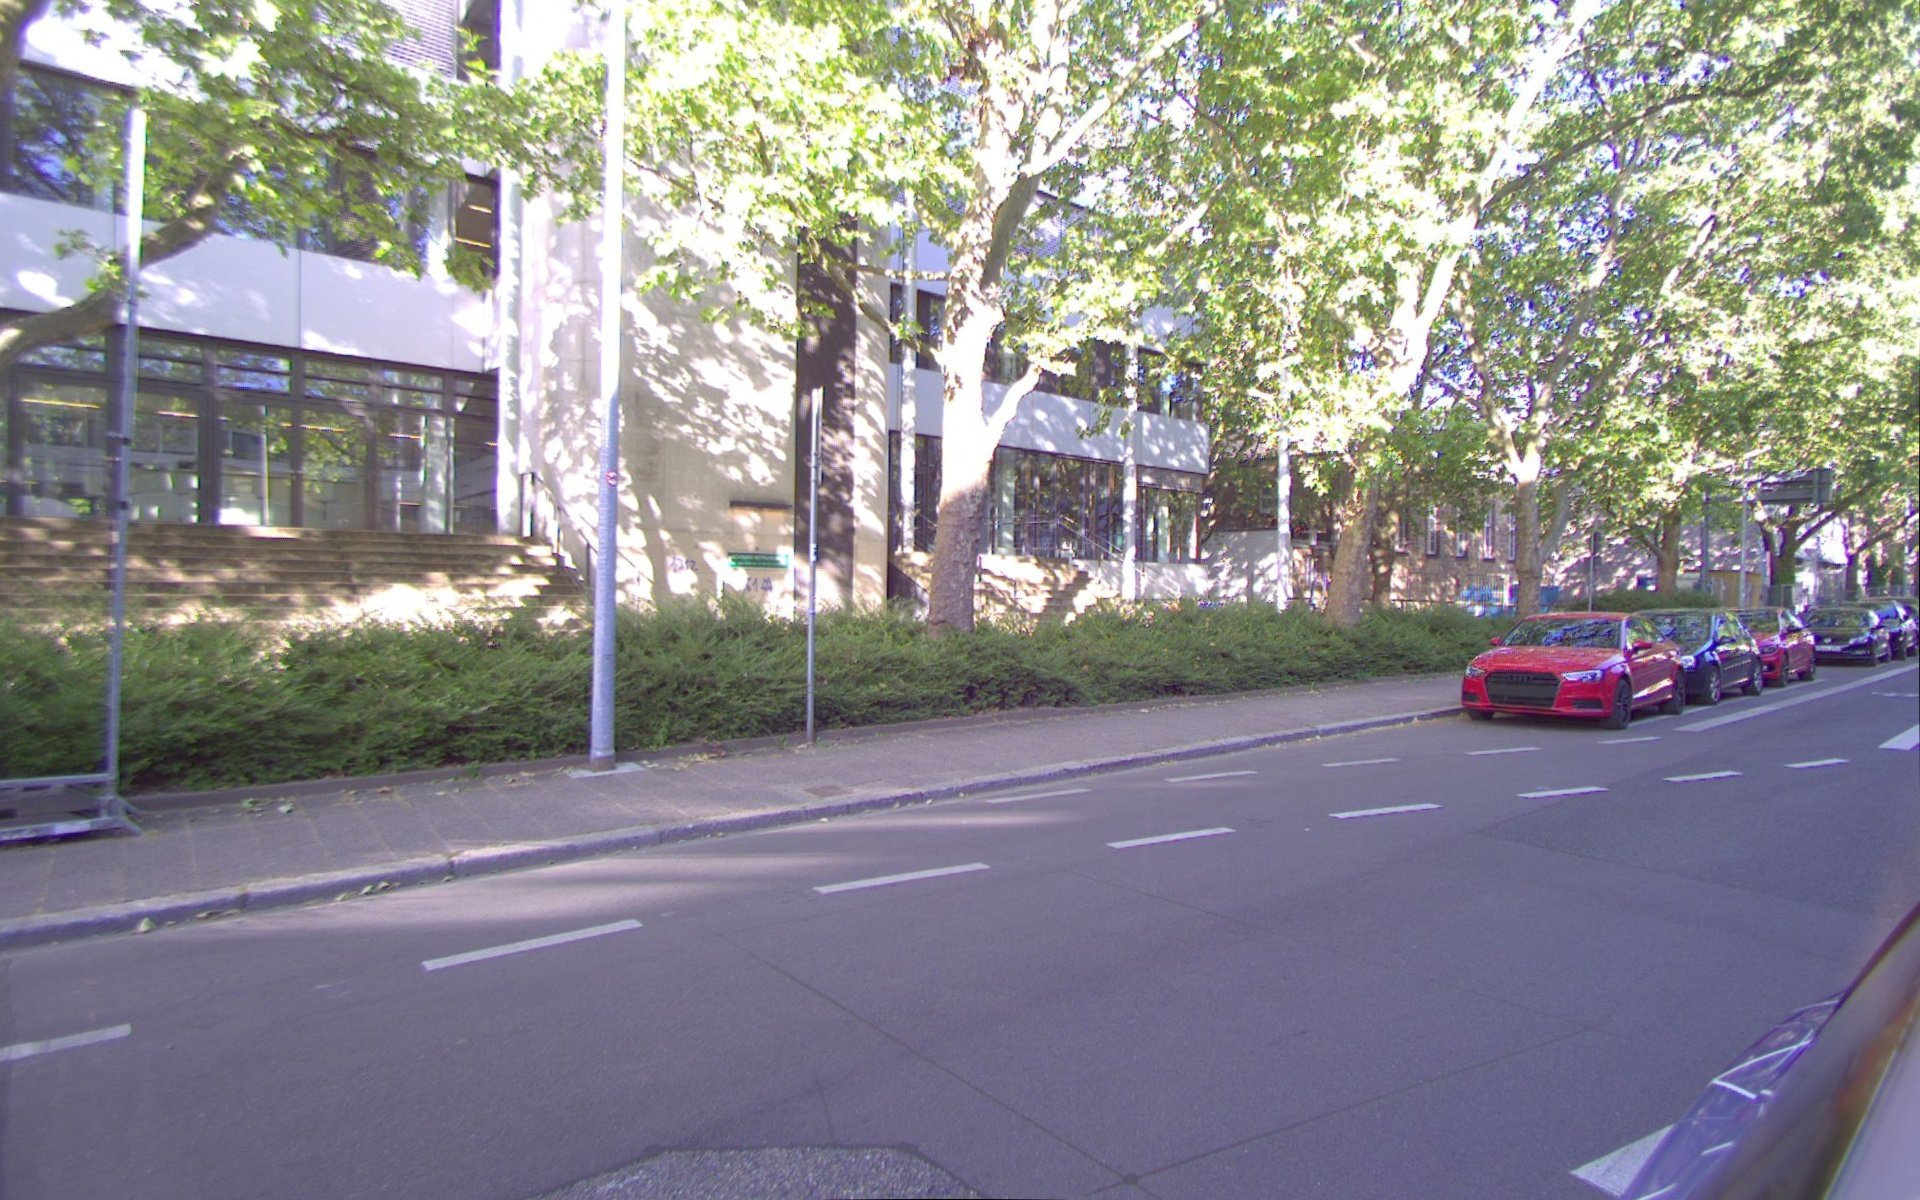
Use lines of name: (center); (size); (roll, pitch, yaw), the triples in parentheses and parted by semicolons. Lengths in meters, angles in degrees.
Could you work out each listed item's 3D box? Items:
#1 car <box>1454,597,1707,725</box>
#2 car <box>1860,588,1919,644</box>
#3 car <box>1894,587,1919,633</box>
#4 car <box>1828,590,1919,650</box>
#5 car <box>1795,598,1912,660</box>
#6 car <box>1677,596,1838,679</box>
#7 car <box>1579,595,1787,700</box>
car: (8.353, 0.692, 13.487); (4.101, 1.443, 1.773); (0, -1, -42)
car: (31.087, 0.483, 33.054); (4.188, 1.747, 1.997); (-1, 0, -41)
car: (35.745, 0.363, 37.076); (4.004, 1.638, 1.797); (0, 1, -41)
car: (26.652, 0.526, 29.194); (4.158, 1.601, 1.847); (0, 1, -41)
car: (22.988, 0.683, 25.996); (3.930, 1.456, 1.744); (0, 1, -41)
car: (15.783, 0.666, 19.958); (3.930, 1.456, 1.789); (0, 1, -41)
car: (11.782, 0.678, 16.410); (3.929, 1.475, 1.812); (0, 1, -40)
